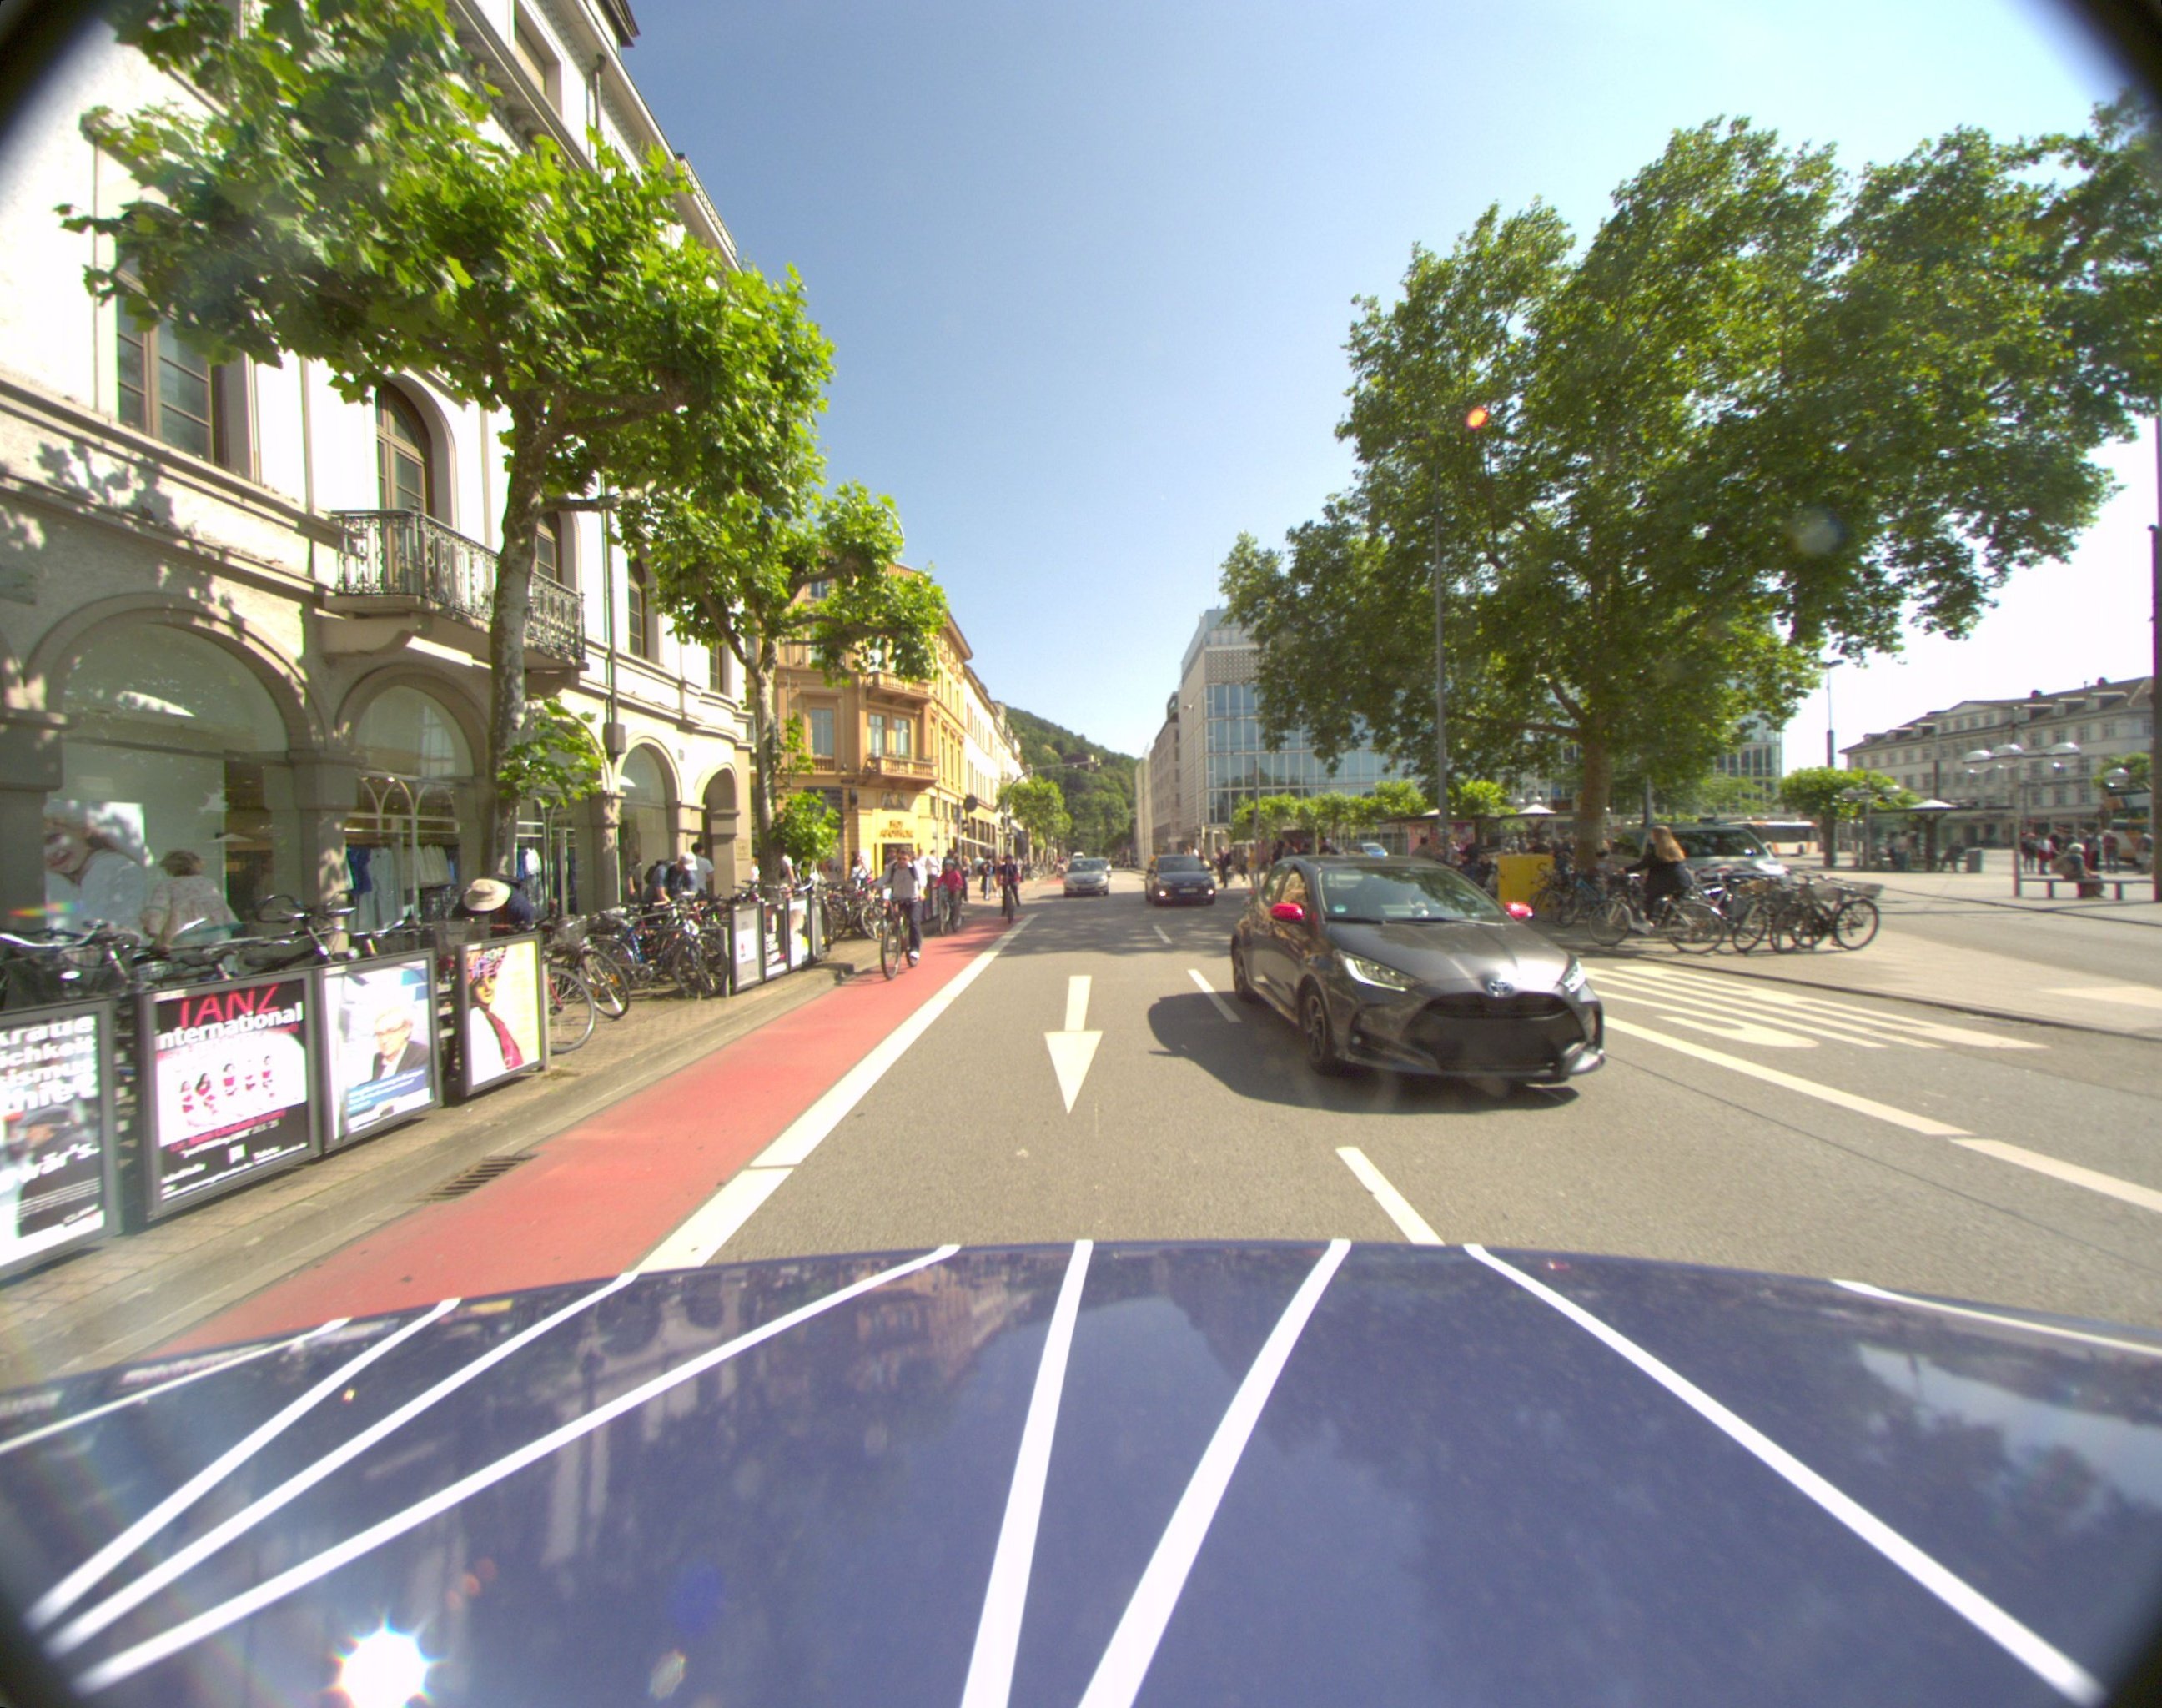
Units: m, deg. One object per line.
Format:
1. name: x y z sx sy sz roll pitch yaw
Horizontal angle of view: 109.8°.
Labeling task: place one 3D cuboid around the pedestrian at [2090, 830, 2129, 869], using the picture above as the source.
1. pedestrian: 40.231 -0.166 29.729 0.757 1.464 0.555 -3 1 0

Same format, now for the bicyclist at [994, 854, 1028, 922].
1. bicyclist: -1.670 0.801 18.349 0.690 1.567 0.778 -3 1 -3

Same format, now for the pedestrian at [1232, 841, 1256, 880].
1. pedestrian: 7.494 0.307 34.980 0.722 1.737 0.884 -3 1 -9

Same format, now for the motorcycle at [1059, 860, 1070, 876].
1. motorcycle: -1.210 1.008 56.202 0.736 1.086 1.897 -3 1 1

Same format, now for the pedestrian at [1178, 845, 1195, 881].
1. pedestrian: 5.278 0.448 38.035 0.639 1.737 0.733 -3 1 -1

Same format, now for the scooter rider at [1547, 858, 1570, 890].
1. scooter rider: 12.867 0.536 20.474 0.506 0.834 0.349 -3 1 34

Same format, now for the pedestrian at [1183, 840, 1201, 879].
1. pedestrian: 5.661 0.265 38.765 0.639 1.909 0.860 -3 1 -1

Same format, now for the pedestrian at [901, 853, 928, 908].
1. pedestrian: -4.868 0.761 22.277 0.578 1.575 0.622 -3 1 -3

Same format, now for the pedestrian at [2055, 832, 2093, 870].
1. pedestrian: 39.682 -0.128 30.370 0.757 1.464 0.555 -3 1 0

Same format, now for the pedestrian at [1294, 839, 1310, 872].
1. pedestrian: 11.889 0.070 40.865 0.732 1.737 0.640 -3 1 14

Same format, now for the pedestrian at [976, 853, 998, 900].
1. pedestrian: -3.494 0.821 28.216 0.579 1.675 0.726 -4 1 -22

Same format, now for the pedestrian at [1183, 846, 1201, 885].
1. pedestrian: 5.173 0.520 35.351 0.639 1.737 0.733 -3 1 -1

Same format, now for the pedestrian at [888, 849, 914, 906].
1. pedestrian: -5.552 0.724 23.522 0.578 1.714 0.622 -3 1 -3

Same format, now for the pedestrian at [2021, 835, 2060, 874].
1. pedestrian: 37.106 0.005 29.390 0.554 1.464 0.758 -3 1 8

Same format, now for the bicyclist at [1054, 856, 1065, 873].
1. bicyclist: -1.742 0.859 60.954 0.736 1.344 0.736 -3 1 1

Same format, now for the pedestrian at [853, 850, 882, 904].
1. pedestrian: -7.327 0.776 26.029 0.623 1.806 0.631 -4 1 -43

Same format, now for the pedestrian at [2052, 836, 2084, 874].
1. pedestrian: 38.153 0.037 29.370 0.554 1.464 0.456 -3 1 8

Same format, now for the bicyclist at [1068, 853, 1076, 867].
1. bicyclist: -0.882 0.657 78.731 0.736 1.376 0.734 -3 1 1

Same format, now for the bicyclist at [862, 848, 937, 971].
1. bicyclist: -2.439 0.724 10.303 0.750 1.567 0.778 -3 1 -1

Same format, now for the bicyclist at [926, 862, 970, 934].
1. bicyclist: -2.690 0.879 15.438 0.690 1.388 0.778 -3 1 -1

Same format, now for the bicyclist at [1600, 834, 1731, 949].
1. bicyclist: 8.232 0.499 10.741 0.832 1.489 1.159 -4 1 -20

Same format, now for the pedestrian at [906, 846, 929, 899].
1. pedestrian: -5.681 0.634 26.474 0.578 1.792 0.697 -3 1 -3

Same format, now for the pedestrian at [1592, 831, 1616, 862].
1. pedestrian: 30.325 -0.441 44.034 0.752 1.737 0.782 -3 1 -10

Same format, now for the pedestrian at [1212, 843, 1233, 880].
1. pedestrian: 6.954 0.375 37.419 0.751 1.737 0.733 -3 1 -9

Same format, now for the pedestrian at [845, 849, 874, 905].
1. pedestrian: -7.339 0.761 25.203 0.650 1.793 0.699 -3 1 -1

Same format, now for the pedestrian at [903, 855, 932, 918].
1. pedestrian: -4.554 0.884 21.179 0.578 1.675 0.775 -3 1 -3

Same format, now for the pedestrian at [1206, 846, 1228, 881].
1. pedestrian: 6.868 0.469 38.327 0.876 1.737 0.733 -3 1 -1

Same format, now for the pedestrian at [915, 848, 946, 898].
1. pedestrian: -5.776 0.727 29.098 0.621 1.835 0.856 -2 1 39

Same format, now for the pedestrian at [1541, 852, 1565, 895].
1. pedestrian: 12.982 0.533 20.877 0.506 1.166 0.349 -2 1 34

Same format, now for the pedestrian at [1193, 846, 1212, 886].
1. pedestrian: 5.197 0.508 32.521 0.575 1.704 0.652 -3 1 -1

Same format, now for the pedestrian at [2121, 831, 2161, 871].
1. pedestrian: 39.941 -0.123 28.603 0.757 1.464 0.555 -3 1 0

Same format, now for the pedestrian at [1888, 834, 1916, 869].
1. pedestrian: 35.561 -0.097 32.915 0.554 1.464 0.532 -3 1 8

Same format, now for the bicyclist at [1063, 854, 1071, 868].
1. bicyclist: -1.354 0.700 73.791 0.726 1.271 0.715 -3 1 1

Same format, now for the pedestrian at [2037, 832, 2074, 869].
1. pedestrian: 39.771 -0.142 31.010 0.757 1.464 0.555 -3 1 0

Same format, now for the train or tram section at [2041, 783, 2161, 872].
1. train or tram section: 49.829 -1.378 35.971 2.615 3.805 9.535 -3 1 34

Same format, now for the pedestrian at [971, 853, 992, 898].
1. pedestrian: -3.881 0.826 29.557 0.606 1.726 0.647 -2 2 -22

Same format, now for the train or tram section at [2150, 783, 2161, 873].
1. train or tram section: 44.511 -1.006 28.058 2.615 3.805 9.535 -3 1 34

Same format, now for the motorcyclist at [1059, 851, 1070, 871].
1. motorcyclist: -1.236 0.523 56.269 0.736 1.446 0.707 -3 1 1

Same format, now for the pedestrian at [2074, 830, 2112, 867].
1. pedestrian: 41.040 -0.216 30.819 0.757 1.464 0.555 -3 1 0

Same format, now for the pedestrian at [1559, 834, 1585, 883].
1. pedestrian: 16.899 0.143 26.162 0.503 1.659 0.471 -3 1 -10

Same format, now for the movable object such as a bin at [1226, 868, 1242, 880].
1. movable object such as a bin: 7.769 1.015 38.535 0.662 0.577 0.528 -3 1 -1

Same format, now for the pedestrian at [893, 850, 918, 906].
1. pedestrian: -5.569 0.759 24.182 0.578 1.729 0.622 -3 1 -3

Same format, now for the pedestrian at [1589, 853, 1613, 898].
1. pedestrian: 14.233 0.594 20.810 0.500 1.199 0.460 -2 1 34

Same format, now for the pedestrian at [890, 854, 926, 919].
1. pedestrian: -4.585 0.852 20.132 0.620 1.675 0.579 -2 1 36

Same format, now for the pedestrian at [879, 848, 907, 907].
1. pedestrian: -5.502 0.676 22.254 0.578 1.675 0.622 -3 1 -3

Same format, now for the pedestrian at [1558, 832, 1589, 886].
1. pedestrian: 16.468 0.166 25.403 0.537 1.737 0.613 -3 1 -10

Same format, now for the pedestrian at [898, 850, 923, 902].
1. pedestrian: -6.212 0.789 27.721 0.665 1.835 0.622 -3 1 1

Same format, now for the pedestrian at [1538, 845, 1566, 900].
1. pedestrian: 13.070 0.502 21.078 0.579 1.452 0.787 -2 1 34

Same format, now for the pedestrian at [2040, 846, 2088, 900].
1. pedestrian: 23.631 0.443 18.264 0.497 1.246 0.484 -3 1 -1

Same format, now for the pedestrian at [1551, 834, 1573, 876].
1. pedestrian: 18.101 0.035 28.599 0.491 1.517 0.456 -3 1 8

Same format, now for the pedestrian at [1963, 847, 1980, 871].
1. pedestrian: 36.802 0.210 31.394 0.330 0.957 0.335 -4 1 -19

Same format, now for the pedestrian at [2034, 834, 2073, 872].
1. pedestrian: 38.946 -0.058 30.435 0.554 1.464 0.758 -3 1 8

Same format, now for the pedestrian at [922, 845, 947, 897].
1. pedestrian: -5.370 0.628 27.852 0.686 1.847 0.622 -3 1 -3

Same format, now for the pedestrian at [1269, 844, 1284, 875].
1. pedestrian: 10.533 0.293 40.978 0.732 1.660 0.640 -3 1 14

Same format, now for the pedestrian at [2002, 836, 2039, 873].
1. pedestrian: 38.212 0.010 30.914 0.757 1.464 0.555 -3 1 0

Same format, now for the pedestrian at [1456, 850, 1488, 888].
1. pedestrian: 13.055 0.493 25.393 0.672 1.234 0.614 -3 1 -15

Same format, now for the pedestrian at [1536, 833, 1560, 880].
1. pedestrian: 17.467 0.079 28.432 0.554 1.717 0.492 -3 1 8
